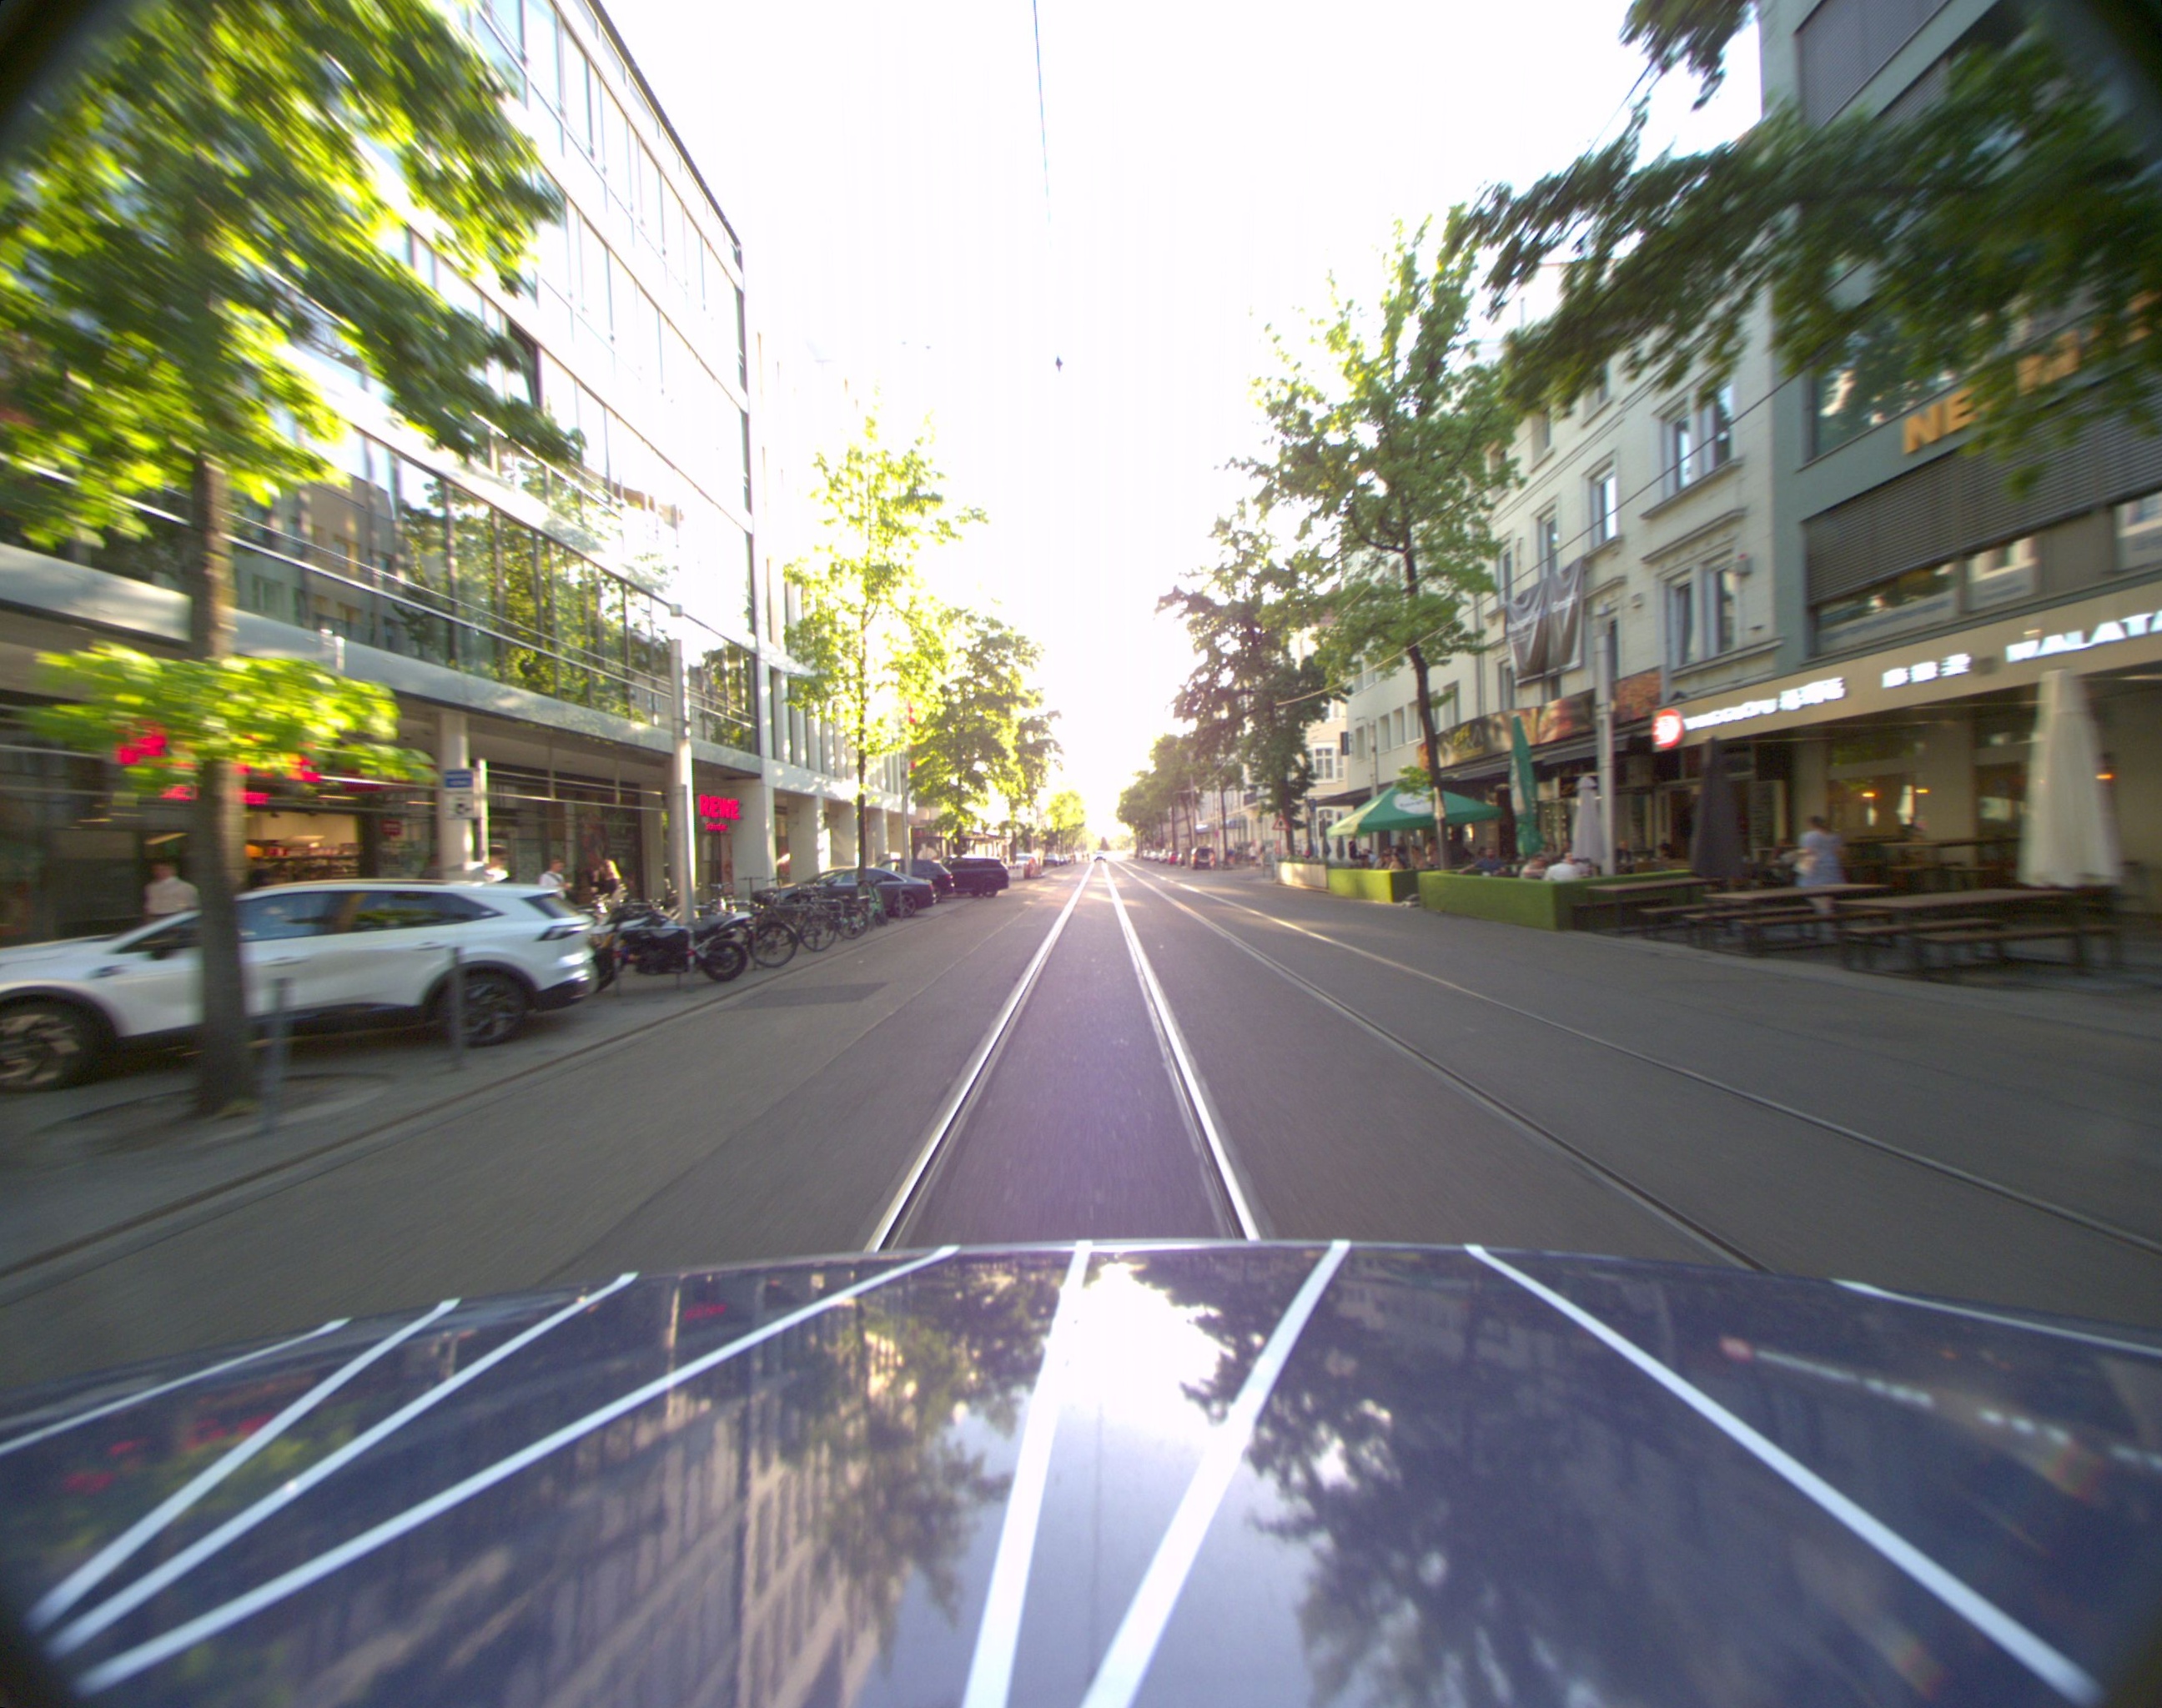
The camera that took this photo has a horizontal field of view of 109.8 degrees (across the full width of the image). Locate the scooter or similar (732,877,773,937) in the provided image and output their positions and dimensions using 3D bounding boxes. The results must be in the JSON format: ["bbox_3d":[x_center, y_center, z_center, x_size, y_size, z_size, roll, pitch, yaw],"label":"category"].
[{"bbox_3d":[-7.790,1.222,17.986,0.564,1.286,1.676,0,1,-35],"label":"scooter or similar"}]

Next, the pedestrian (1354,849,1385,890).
[{"bbox_3d":[9.881,0.518,26.052,0.709,1.339,0.781,-4,1,4],"label":"pedestrian"}]

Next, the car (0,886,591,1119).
[{"bbox_3d":[-7.121,1.160,7.137,4.167,1.562,1.849,0,0,-31],"label":"car"}]

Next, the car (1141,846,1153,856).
[{"bbox_3d":[12.731,-0.528,147.393,1.931,1.946,4.766,-1,0,1],"label":"car"}]

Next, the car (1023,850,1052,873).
[{"bbox_3d":[-3.427,0.585,60.573,2.028,1.727,4.906,1,0,0],"label":"car"}]

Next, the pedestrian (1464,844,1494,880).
[{"bbox_3d":[13.369,0.268,25.518,0.603,1.151,0.687,-4,1,2],"label":"pedestrian"}]

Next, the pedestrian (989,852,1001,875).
[{"bbox_3d":[-7.342,0.813,64.737,0.835,1.886,0.918,-1,1,4],"label":"pedestrian"}]

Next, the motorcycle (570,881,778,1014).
[{"bbox_3d":[-5.432,1.172,10.262,2.324,1.501,0.856,0,2,-42],"label":"motorcycle"}]

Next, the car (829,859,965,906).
[{"bbox_3d":[-6.866,1.001,28.285,4.672,1.645,2.004,0,0,-22],"label":"car"}]

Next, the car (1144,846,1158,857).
[{"bbox_3d":[12.152,-0.360,132.528,1.952,1.731,4.766,-5,0,1],"label":"car"}]

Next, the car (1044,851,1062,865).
[{"bbox_3d":[-3.572,0.483,96.378,1.985,1.679,4.874,1,0,1],"label":"car"}]

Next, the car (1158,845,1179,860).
[{"bbox_3d":[10.888,-0.222,94.841,1.870,1.679,4.950,-5,0,-2],"label":"car"}]

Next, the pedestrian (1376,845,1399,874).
[{"bbox_3d":[13.580,0.240,33.684,0.646,1.262,0.738,-4,1,2],"label":"pedestrian"}]

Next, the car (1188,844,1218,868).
[{"bbox_3d":[10.014,0.120,62.711,1.862,1.821,4.559,-3,0,3],"label":"car"}]

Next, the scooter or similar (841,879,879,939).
[{"bbox_3d":[-5.127,1.251,17.672,0.452,1.269,1.306,2,1,1],"label":"scooter or similar"}]

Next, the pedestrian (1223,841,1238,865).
[{"bbox_3d":[11.833,-0.082,60.158,0.867,1.771,0.884,-5,1,1],"label":"pedestrian"}]

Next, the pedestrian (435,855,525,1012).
[{"bbox_3d":[-7.575,0.973,9.604,0.584,1.908,0.663,0,1,3],"label":"pedestrian"}]

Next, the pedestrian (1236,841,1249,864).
[{"bbox_3d":[12.721,-0.123,60.030,0.721,1.802,0.876,-5,1,1],"label":"pedestrian"}]

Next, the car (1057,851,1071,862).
[{"bbox_3d":[-2.576,0.353,113.960,1.770,1.502,4.287,-2,0,3],"label":"car"}]

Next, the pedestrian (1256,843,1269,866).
[{"bbox_3d":[13.100,0.032,54.741,0.709,1.646,0.967,-2,0,3],"label":"pedestrian"}]

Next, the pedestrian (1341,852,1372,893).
[{"bbox_3d":[8.976,0.598,24.802,0.709,1.252,0.772,-4,1,4],"label":"pedestrian"}]

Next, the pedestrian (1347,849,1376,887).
[{"bbox_3d":[9.936,0.485,26.927,0.691,1.304,0.807,-4,1,2],"label":"pedestrian"}]

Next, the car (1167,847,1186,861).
[{"bbox_3d":[10.671,-0.013,85.096,1.664,1.397,4.141,-5,0,2],"label":"car"}]

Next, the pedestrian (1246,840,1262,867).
[{"bbox_3d":[11.986,-0.026,52.650,0.776,1.782,0.984,-4,1,3],"label":"pedestrian"}]

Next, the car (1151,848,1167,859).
[{"bbox_3d":[11.600,-0.144,113.115,1.897,1.458,4.617,-5,0,2],"label":"car"}]

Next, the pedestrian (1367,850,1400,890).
[{"bbox_3d":[9.840,0.510,24.723,0.709,1.252,0.869,-4,1,4],"label":"pedestrian"}]

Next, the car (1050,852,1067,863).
[{"bbox_3d":[-3.111,0.443,104.222,1.871,1.502,4.242,0,0,-6],"label":"car"}]

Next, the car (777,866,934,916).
[{"bbox_3d":[-7.230,1.132,24.461,4.671,1.418,1.930,0,1,-19],"label":"car"}]

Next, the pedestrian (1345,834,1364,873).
[{"bbox_3d":[12.872,-0.029,35.804,0.685,1.805,0.765,-4,1,17],"label":"pedestrian"}]

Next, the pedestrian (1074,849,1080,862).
[{"bbox_3d":[-0.610,0.167,111.188,0.705,1.858,0.792,-2,1,0],"label":"pedestrian"}]

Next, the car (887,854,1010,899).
[{"bbox_3d":[-5.532,0.898,31.856,4.674,1.753,1.990,0,1,-28],"label":"car"}]

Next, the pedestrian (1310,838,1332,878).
[{"bbox_3d":[10.989,0.186,34.845,0.758,1.781,0.687,-4,1,9],"label":"pedestrian"}]

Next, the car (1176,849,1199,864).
[{"bbox_3d":[10.659,0.230,76.241,1.722,1.238,4.507,-5,0,1],"label":"car"}]

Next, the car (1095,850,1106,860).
[{"bbox_3d":[3.250,0.110,126.987,1.827,1.603,3.796,-2,0,2],"label":"car"}]

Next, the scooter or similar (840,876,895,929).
[{"bbox_3d":[-5.448,1.221,19.456,0.457,1.269,1.310,3,1,39],"label":"scooter or similar"}]

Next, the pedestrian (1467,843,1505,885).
[{"bbox_3d":[12.482,0.299,23.430,0.671,1.235,0.799,-4,1,1],"label":"pedestrian"}]

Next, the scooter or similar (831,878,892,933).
[{"bbox_3d":[-5.376,1.245,18.635,1.309,1.269,0.563,1,1,-30],"label":"scooter or similar"}]

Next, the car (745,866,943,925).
[{"bbox_3d":[-6.717,1.104,21.791,5.070,1.460,1.972,1,1,-34],"label":"car"}]

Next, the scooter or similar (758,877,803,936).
[{"bbox_3d":[-7.255,1.231,18.309,0.633,1.286,1.676,0,1,-35],"label":"scooter or similar"}]

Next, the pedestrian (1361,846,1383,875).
[{"bbox_3d":[12.921,0.282,33.780,0.628,1.274,0.727,-4,1,2],"label":"pedestrian"}]

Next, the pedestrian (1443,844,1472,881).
[{"bbox_3d":[12.669,0.283,25.588,0.603,1.167,0.687,-4,1,2],"label":"pedestrian"}]
